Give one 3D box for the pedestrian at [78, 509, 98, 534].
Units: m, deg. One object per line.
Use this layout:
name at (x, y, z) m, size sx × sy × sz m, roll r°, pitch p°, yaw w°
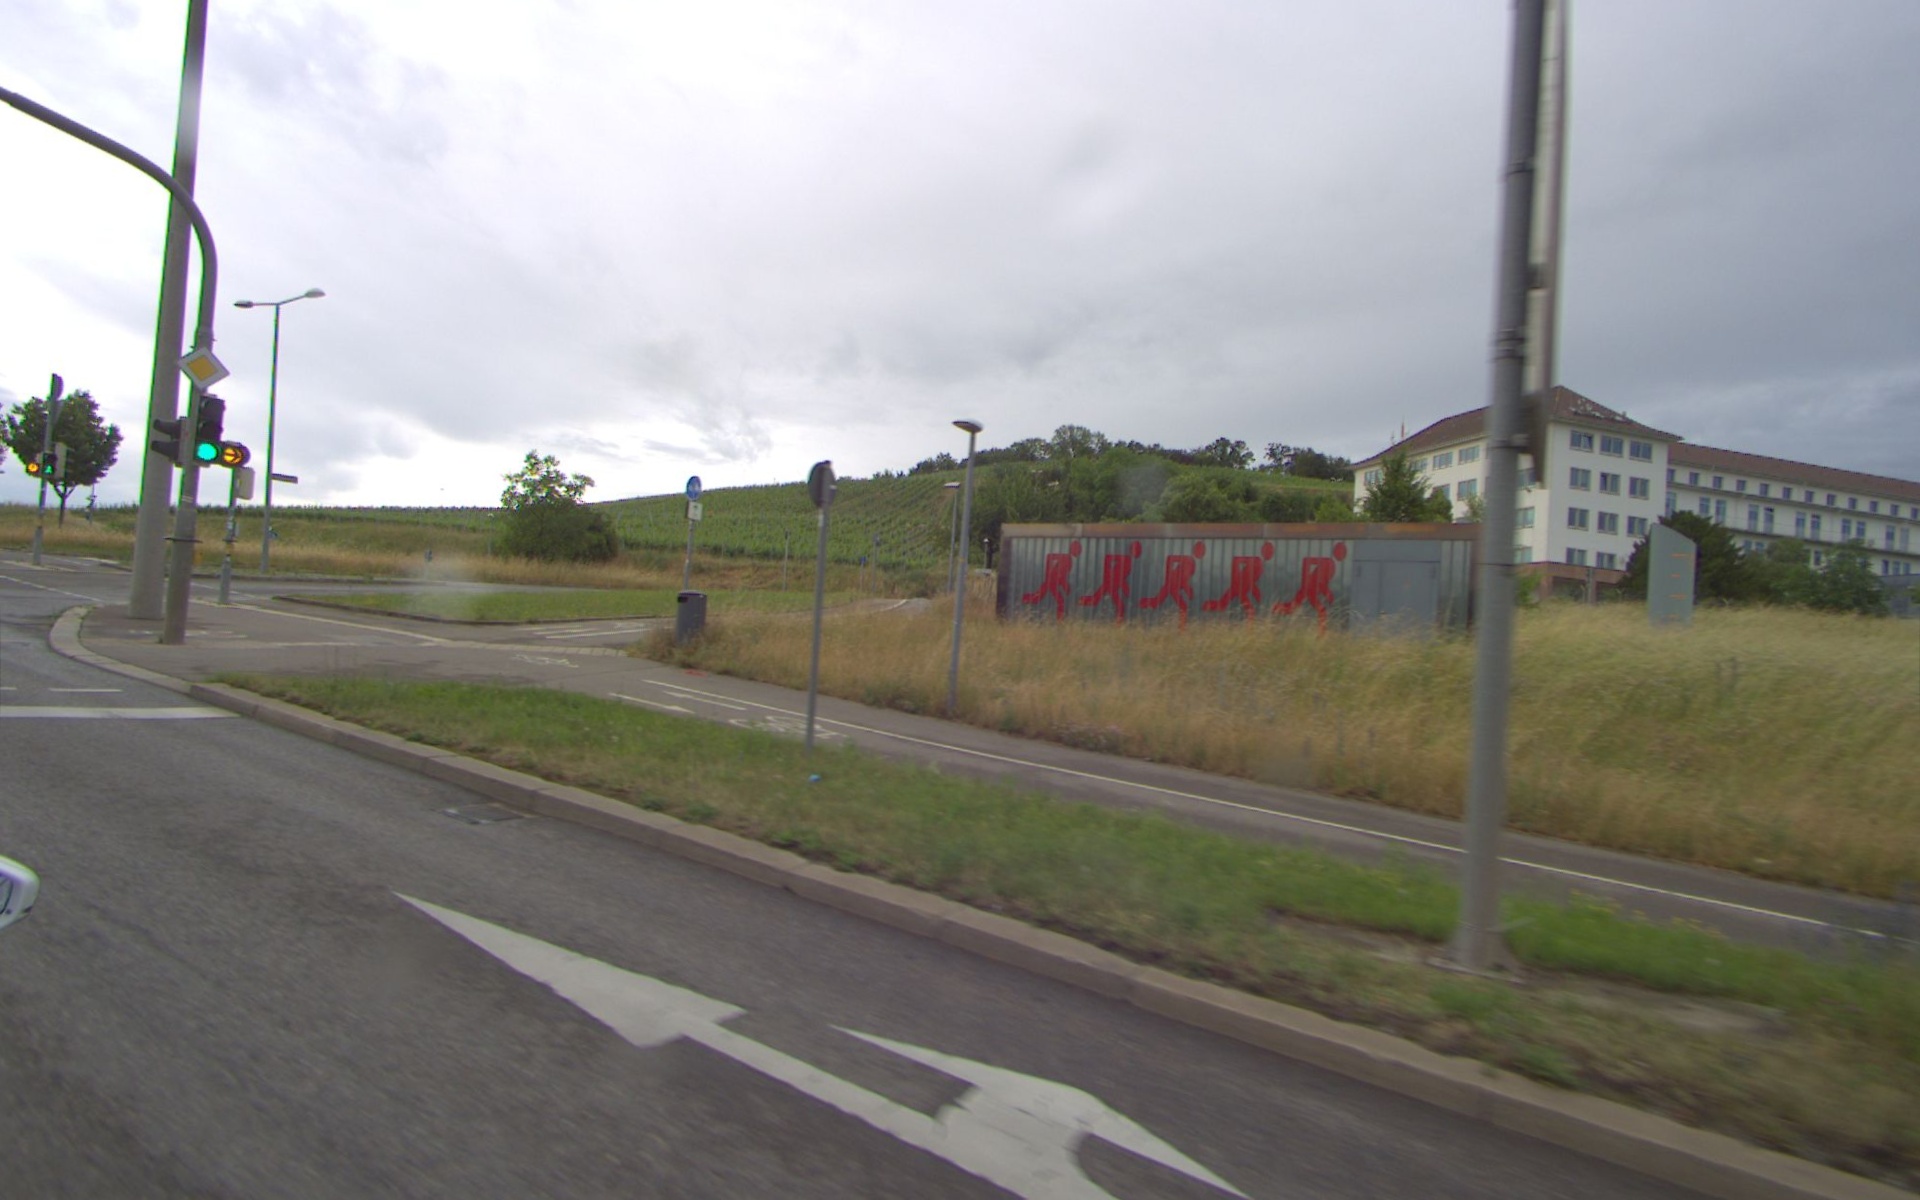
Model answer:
pedestrian at (-79.173, -7.127, 91.340) m, size 1.035 × 2.039 × 0.781 m, roll 5°, pitch 1°, yaw -1°
